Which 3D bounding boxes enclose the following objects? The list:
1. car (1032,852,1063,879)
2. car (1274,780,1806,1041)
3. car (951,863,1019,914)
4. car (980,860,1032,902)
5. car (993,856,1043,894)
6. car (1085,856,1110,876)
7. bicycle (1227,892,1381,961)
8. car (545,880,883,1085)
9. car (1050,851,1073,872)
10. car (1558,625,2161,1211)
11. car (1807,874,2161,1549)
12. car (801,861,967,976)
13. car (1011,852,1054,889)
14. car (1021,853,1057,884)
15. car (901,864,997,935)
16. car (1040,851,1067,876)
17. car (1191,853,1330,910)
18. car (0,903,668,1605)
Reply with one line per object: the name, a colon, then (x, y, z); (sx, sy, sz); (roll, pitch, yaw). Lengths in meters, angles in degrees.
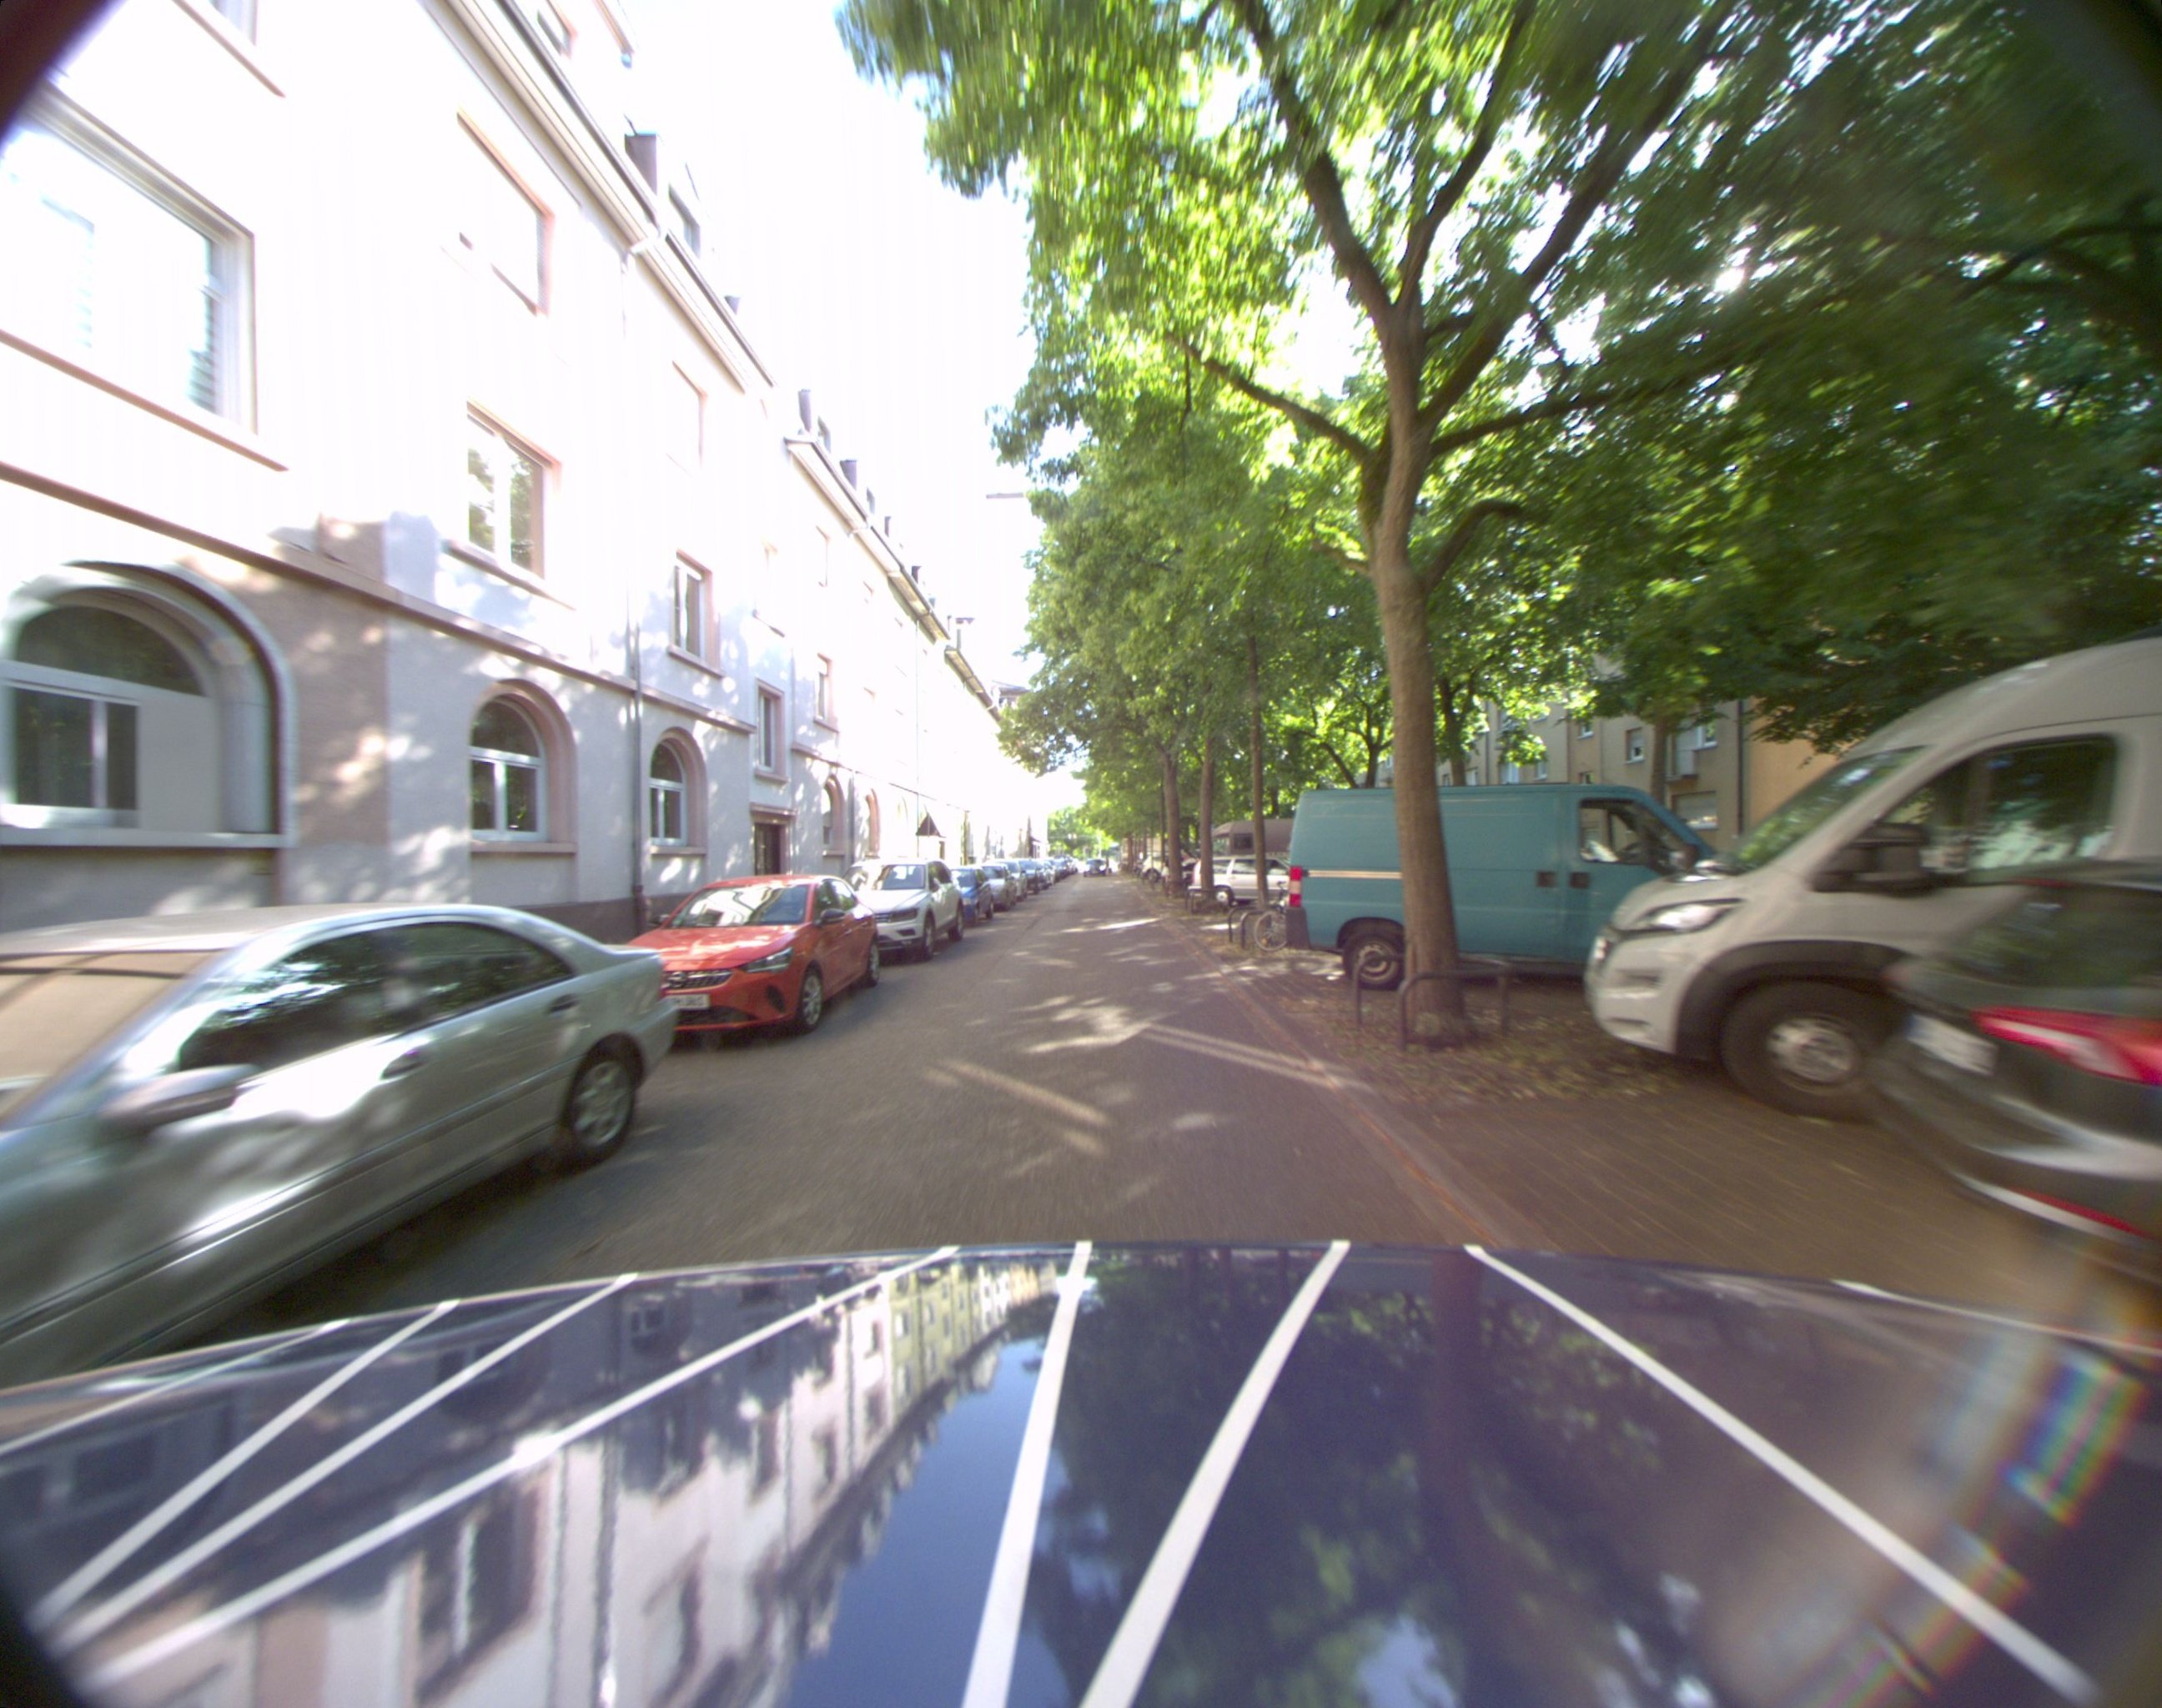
car: (-2.210, 0.738, 51.059); (1.863, 1.772, 4.000); (-1, 0, 1)
car: (4.484, 0.480, 8.101); (4.386, 2.155, 1.774); (0, 0, 29)
car: (-2.902, 1.009, 23.572); (1.577, 1.428, 3.607); (-1, 0, 1)
car: (-2.743, 0.958, 28.473); (1.577, 1.446, 3.403); (-1, 0, 1)
car: (-2.733, 0.891, 33.782); (1.863, 1.584, 4.000); (-1, 0, 1)
car: (1.353, 0.931, 60.896); (1.791, 1.510, 4.001); (-2, 0, 4)
bicycle: (3.308, 1.071, 11.428); (2.149, 0.964, 0.609); (0, 1, 8)
car: (-3.338, 1.057, 7.842); (1.671, 1.419, 3.972); (-1, 0, -2)
car: (-1.683, 0.674, 67.100); (1.863, 1.772, 4.000); (-1, 0, 1)
car: (6.021, 0.263, 3.674); (6.185, 2.497, 2.143); (0, 0, 29)
car: (4.624, 0.811, 1.382); (4.512, 1.474, 1.741); (0, 0, 31)
car: (-3.154, 0.951, 13.052); (1.671, 1.590, 4.273); (-1, 0, 1)
car: (-2.440, 0.790, 38.836); (1.863, 1.772, 4.000); (-1, 0, 1)
car: (-2.426, 0.807, 44.909); (1.863, 1.772, 4.000); (-1, 0, 1)
car: (-3.133, 1.034, 18.633); (1.671, 1.503, 3.607); (-1, 0, 1)
car: (-2.022, 0.697, 56.939); (1.863, 1.772, 4.000); (-1, 0, 1)
car: (4.928, 0.743, 20.929); (3.265, 1.408, 1.751); (-2, 1, 33)
car: (-3.405, 1.034, 2.456); (1.765, 1.455, 4.244); (-1, 0, 1)
